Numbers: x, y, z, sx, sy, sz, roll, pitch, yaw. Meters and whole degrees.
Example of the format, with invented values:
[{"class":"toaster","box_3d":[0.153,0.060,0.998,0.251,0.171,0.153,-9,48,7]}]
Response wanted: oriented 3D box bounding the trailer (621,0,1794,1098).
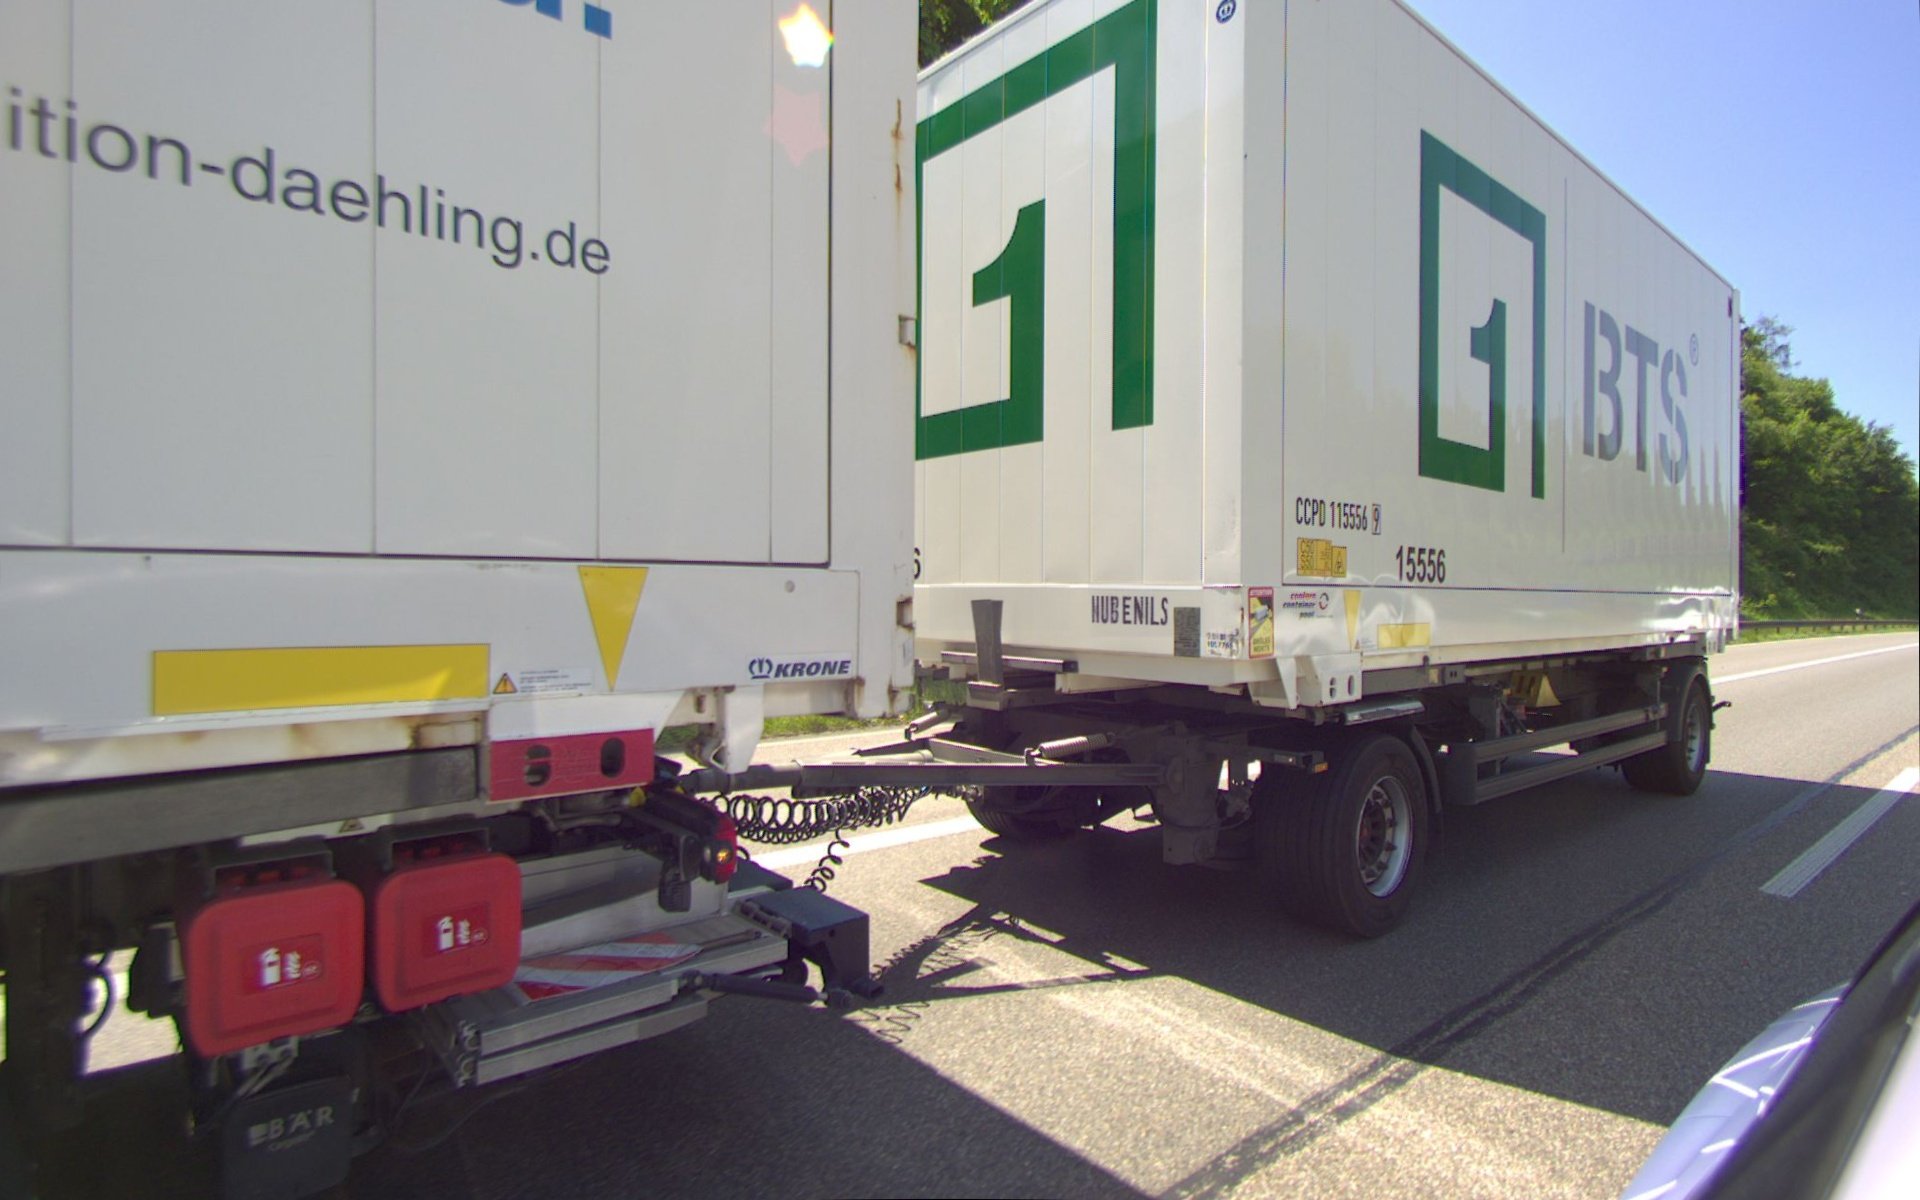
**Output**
[{"class":"trailer","box_3d":[3.030,-0.721,7.010,9.888,4.229,2.684,1,-1,-41]}]
